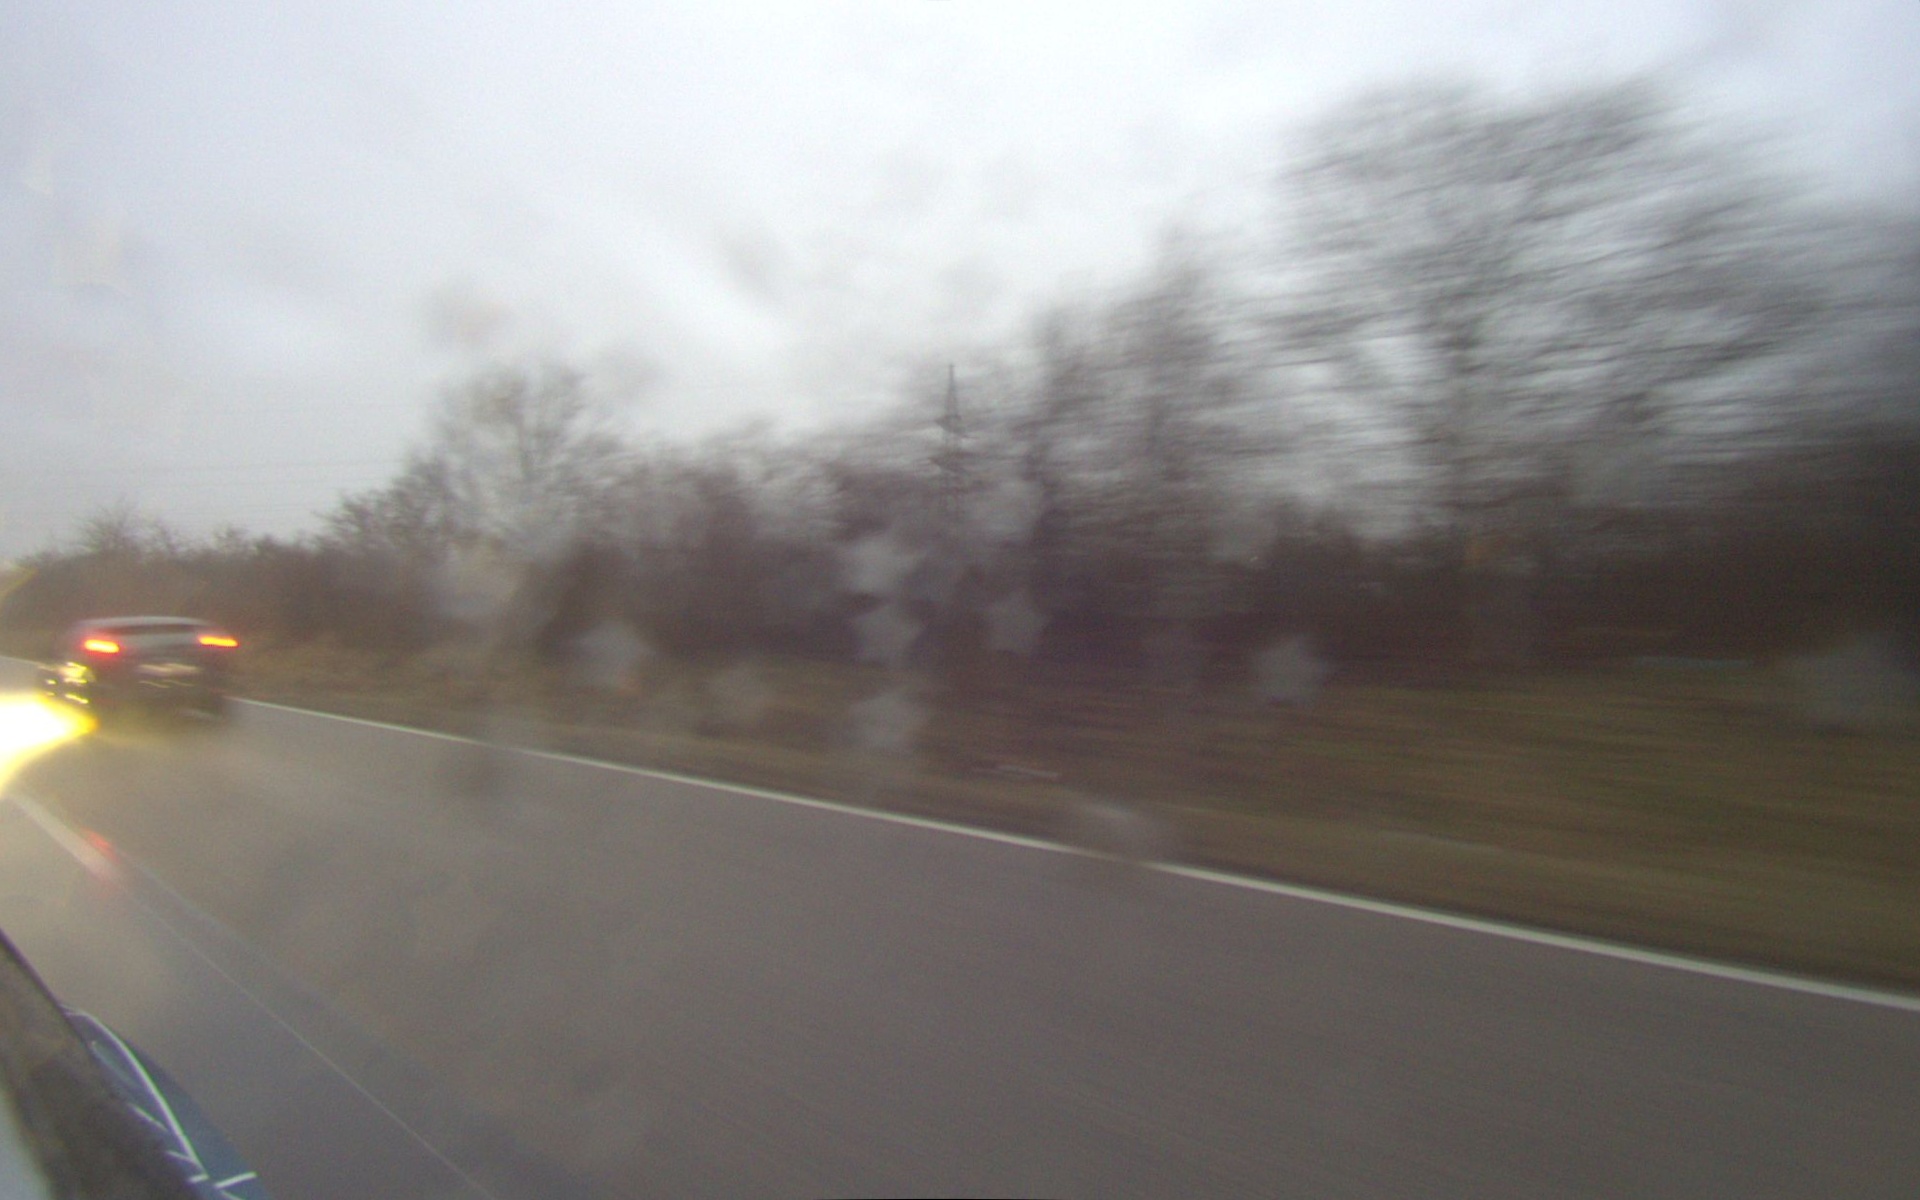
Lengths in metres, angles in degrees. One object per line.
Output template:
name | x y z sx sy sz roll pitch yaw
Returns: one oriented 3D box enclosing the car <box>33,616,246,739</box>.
car | -11.709 0.985 14.359 3.889 1.485 1.733 -1 -1 41
